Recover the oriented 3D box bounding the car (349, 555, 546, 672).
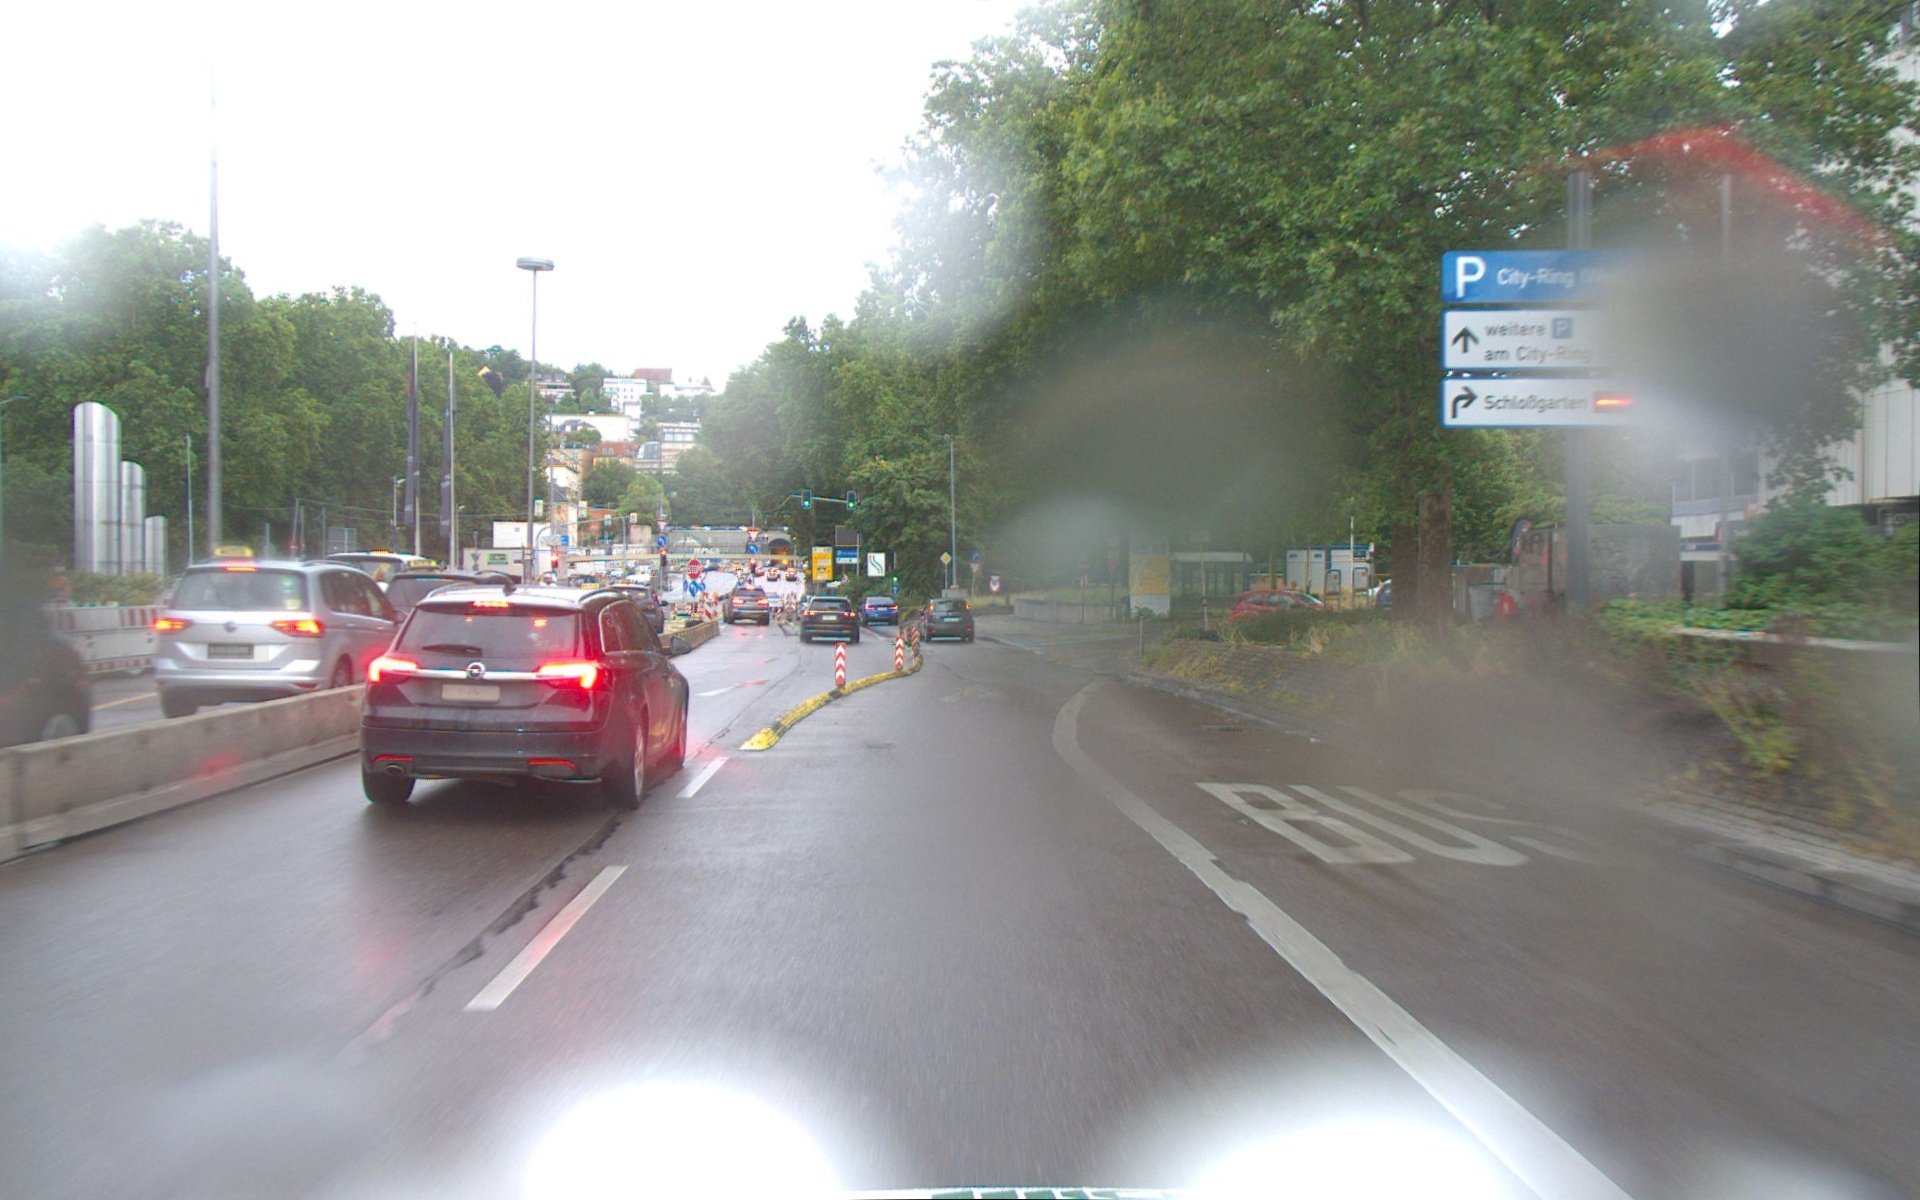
[{"bbox_3d":[-7.489,0.190,24.598,1.788,1.537,4.486,1,0,-4],"label":"car"}]

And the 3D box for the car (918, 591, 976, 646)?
[{"bbox_3d":[-0.474,0.616,55.607,1.814,1.747,3.998,1,0,-2],"label":"car"}]

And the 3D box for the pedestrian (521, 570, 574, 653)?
[{"bbox_3d":[-10.381,0.281,41.644,1.002,2.049,0.837,0,0,11],"label":"pedestrian"}]

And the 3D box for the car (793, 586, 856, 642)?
[{"bbox_3d":[-4.266,0.418,52.536,1.794,1.715,4.132,0,0,-2],"label":"car"}]

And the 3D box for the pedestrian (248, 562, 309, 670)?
[{"bbox_3d":[-11.471,0.267,27.848,0.621,1.784,0.822,1,-1,2],"label":"pedestrian"}]

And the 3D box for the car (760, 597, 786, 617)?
[{"bbox_3d":[-15.466,0.581,136.726,1.781,1.602,3.989,1,0,-11],"label":"car"}]

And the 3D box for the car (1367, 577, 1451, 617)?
[{"bbox_3d":[21.587,-0.155,79.393,4.421,1.812,1.918,2,-1,-45],"label":"car"}]

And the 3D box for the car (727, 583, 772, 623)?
[{"bbox_3d":[-10.220,0.139,80.103,1.957,1.859,3.990,1,0,-10],"label":"car"}]

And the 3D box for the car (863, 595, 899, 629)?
[{"bbox_3d":[-3.869,0.585,81.512,1.640,1.609,3.239,1,0,-1],"label":"car"}]

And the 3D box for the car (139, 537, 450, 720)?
[{"bbox_3d":[-7.161,0.285,18.369,1.788,1.726,4.770,1,0,-4],"label":"car"}]

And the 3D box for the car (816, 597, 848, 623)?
[{"bbox_3d":[-8.602,0.657,110.902,1.606,1.653,3.783,1,0,-13],"label":"car"}]

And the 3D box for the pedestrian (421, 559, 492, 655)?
[{"bbox_3d":[-9.096,0.127,29.895,1.003,1.704,0.836,0,0,2],"label":"pedestrian"}]

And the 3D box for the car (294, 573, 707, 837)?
[{"bbox_3d":[-3.047,0.610,12.084,1.840,1.534,4.849,1,0,-3],"label":"car"}]

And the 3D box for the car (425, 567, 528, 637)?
[{"bbox_3d":[-12.347,0.050,42.459,1.681,1.658,4.052,1,0,-4],"label":"car"}]

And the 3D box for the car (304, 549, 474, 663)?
[{"bbox_3d":[-11.308,0.120,33.161,1.955,2.049,5.363,1,0,-5],"label":"car"}]

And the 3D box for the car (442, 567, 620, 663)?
[{"bbox_3d":[-7.573,0.260,29.740,1.932,1.537,5.004,1,0,-1],"label":"car"}]

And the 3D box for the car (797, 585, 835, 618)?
[{"bbox_3d":[-7.966,0.066,91.859,1.866,1.747,3.998,1,0,-2],"label":"car"}]

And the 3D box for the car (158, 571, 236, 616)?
[{"bbox_3d":[-49.094,-0.389,106.553,2.335,2.749,5.788,-1,0,-1],"label":"car"}]

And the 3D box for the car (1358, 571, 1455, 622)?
[{"bbox_3d":[19.040,-0.144,70.492,2.096,2.049,4.619,1,-1,43],"label":"car"}]

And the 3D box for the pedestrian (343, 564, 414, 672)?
[{"bbox_3d":[-9.946,0.299,28.306,0.816,1.815,1.028,0,0,2],"label":"pedestrian"}]

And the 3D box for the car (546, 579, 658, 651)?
[{"bbox_3d":[-8.590,0.340,40.034,1.954,1.595,4.871,-1,0,-4],"label":"car"}]

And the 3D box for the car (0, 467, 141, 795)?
[{"bbox_3d":[-6.414,0.155,8.703,1.954,1.877,5.058,1,0,-4],"label":"car"}]

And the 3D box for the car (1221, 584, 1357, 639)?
[{"bbox_3d":[9.667,0.318,48.713,3.550,1.532,1.726,1,0,38],"label":"car"}]

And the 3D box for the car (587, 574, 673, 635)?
[{"bbox_3d":[-9.036,0.117,45.634,1.955,1.557,4.146,-1,0,-7],"label":"car"}]
